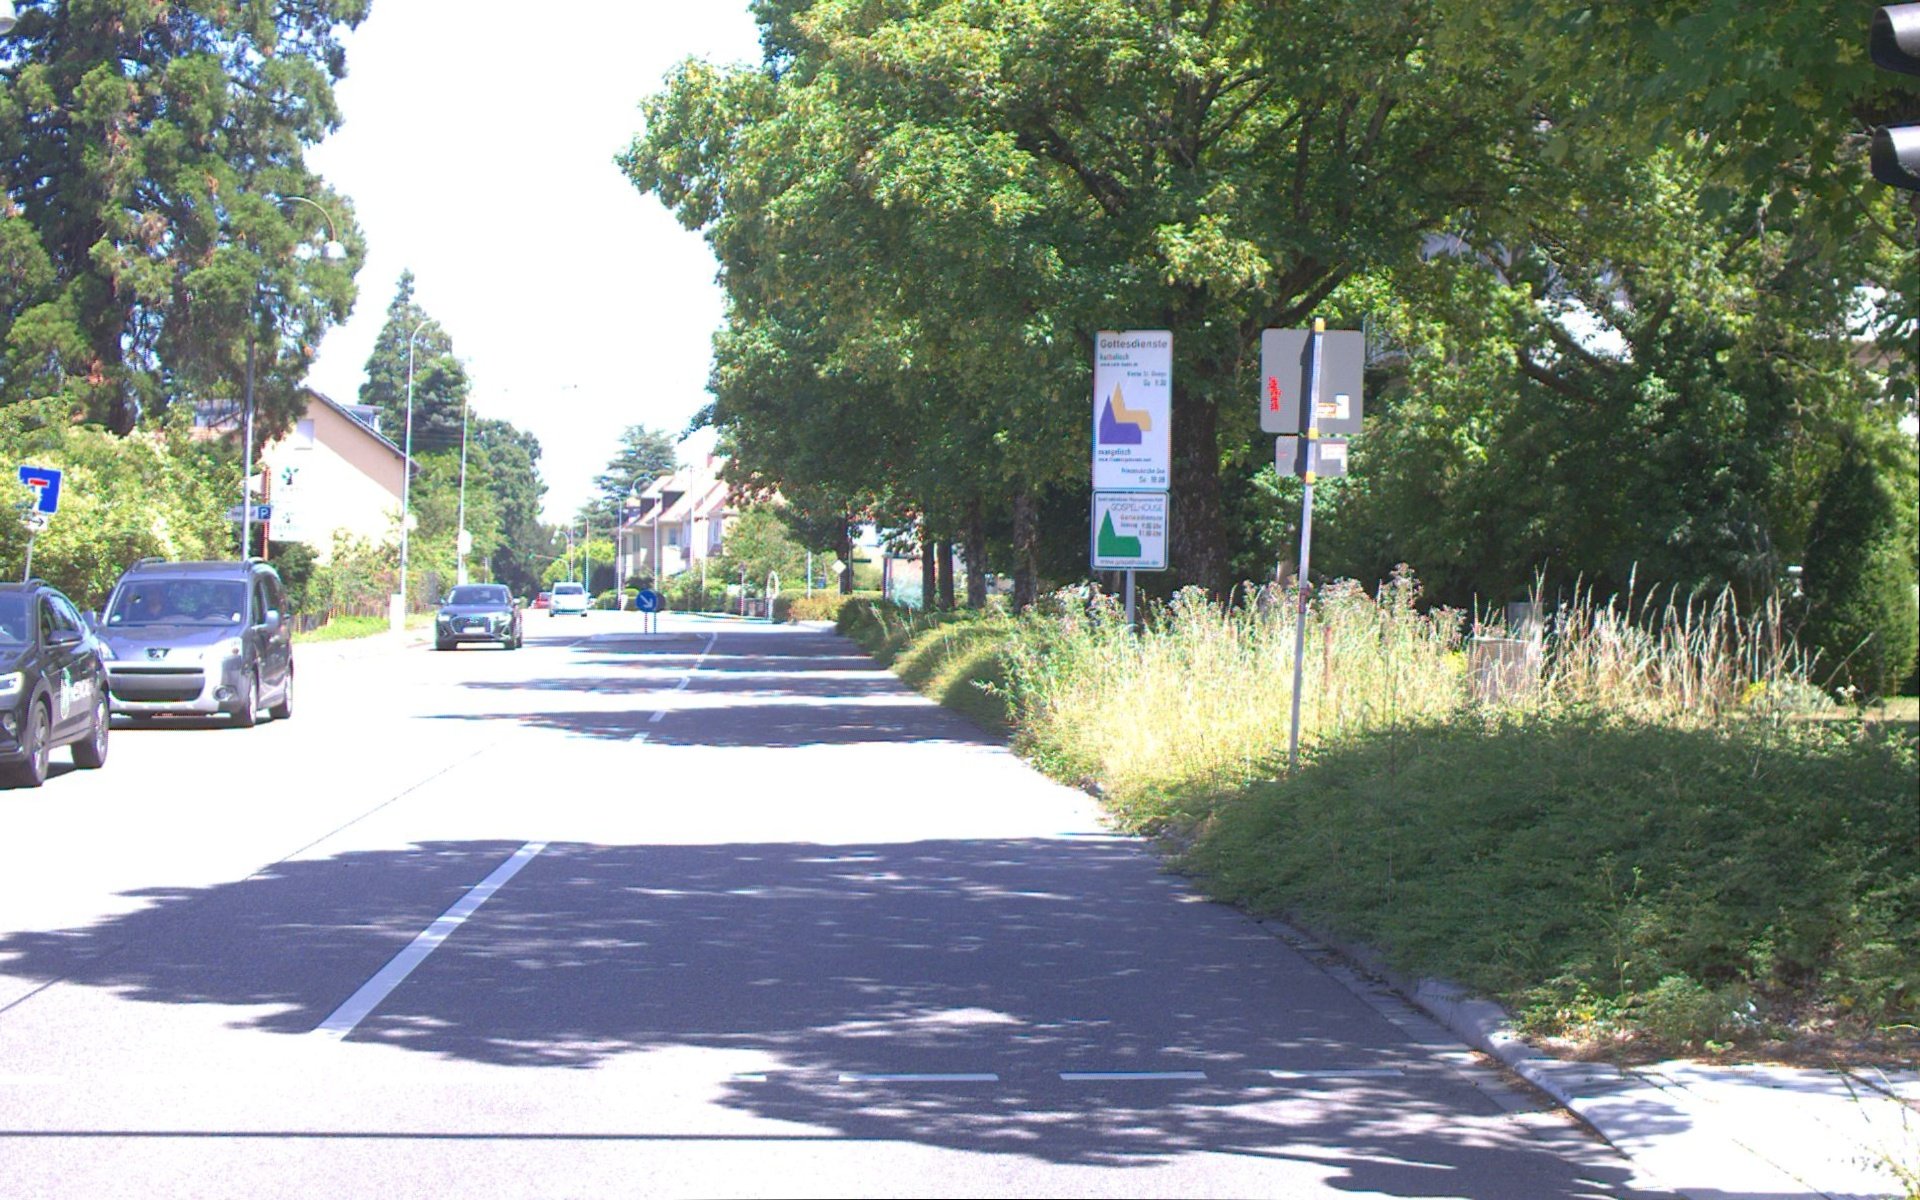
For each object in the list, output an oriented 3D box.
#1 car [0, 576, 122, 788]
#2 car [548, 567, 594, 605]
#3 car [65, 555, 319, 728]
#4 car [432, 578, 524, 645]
[{"bbox_3d":[-7.680,0.565,26.258,1.869,1.501,4.053,0,0,-5],"label":"car"},{"bbox_3d":[-18.519,-0.683,163.863,1.912,1.683,4.126,2,1,-4],"label":"car"},{"bbox_3d":[-8.225,0.409,37.194,1.811,1.756,4.570,0,0,-1],"label":"car"},{"bbox_3d":[-11.450,0.255,81.845,1.793,1.531,4.316,0,0,-3],"label":"car"}]
